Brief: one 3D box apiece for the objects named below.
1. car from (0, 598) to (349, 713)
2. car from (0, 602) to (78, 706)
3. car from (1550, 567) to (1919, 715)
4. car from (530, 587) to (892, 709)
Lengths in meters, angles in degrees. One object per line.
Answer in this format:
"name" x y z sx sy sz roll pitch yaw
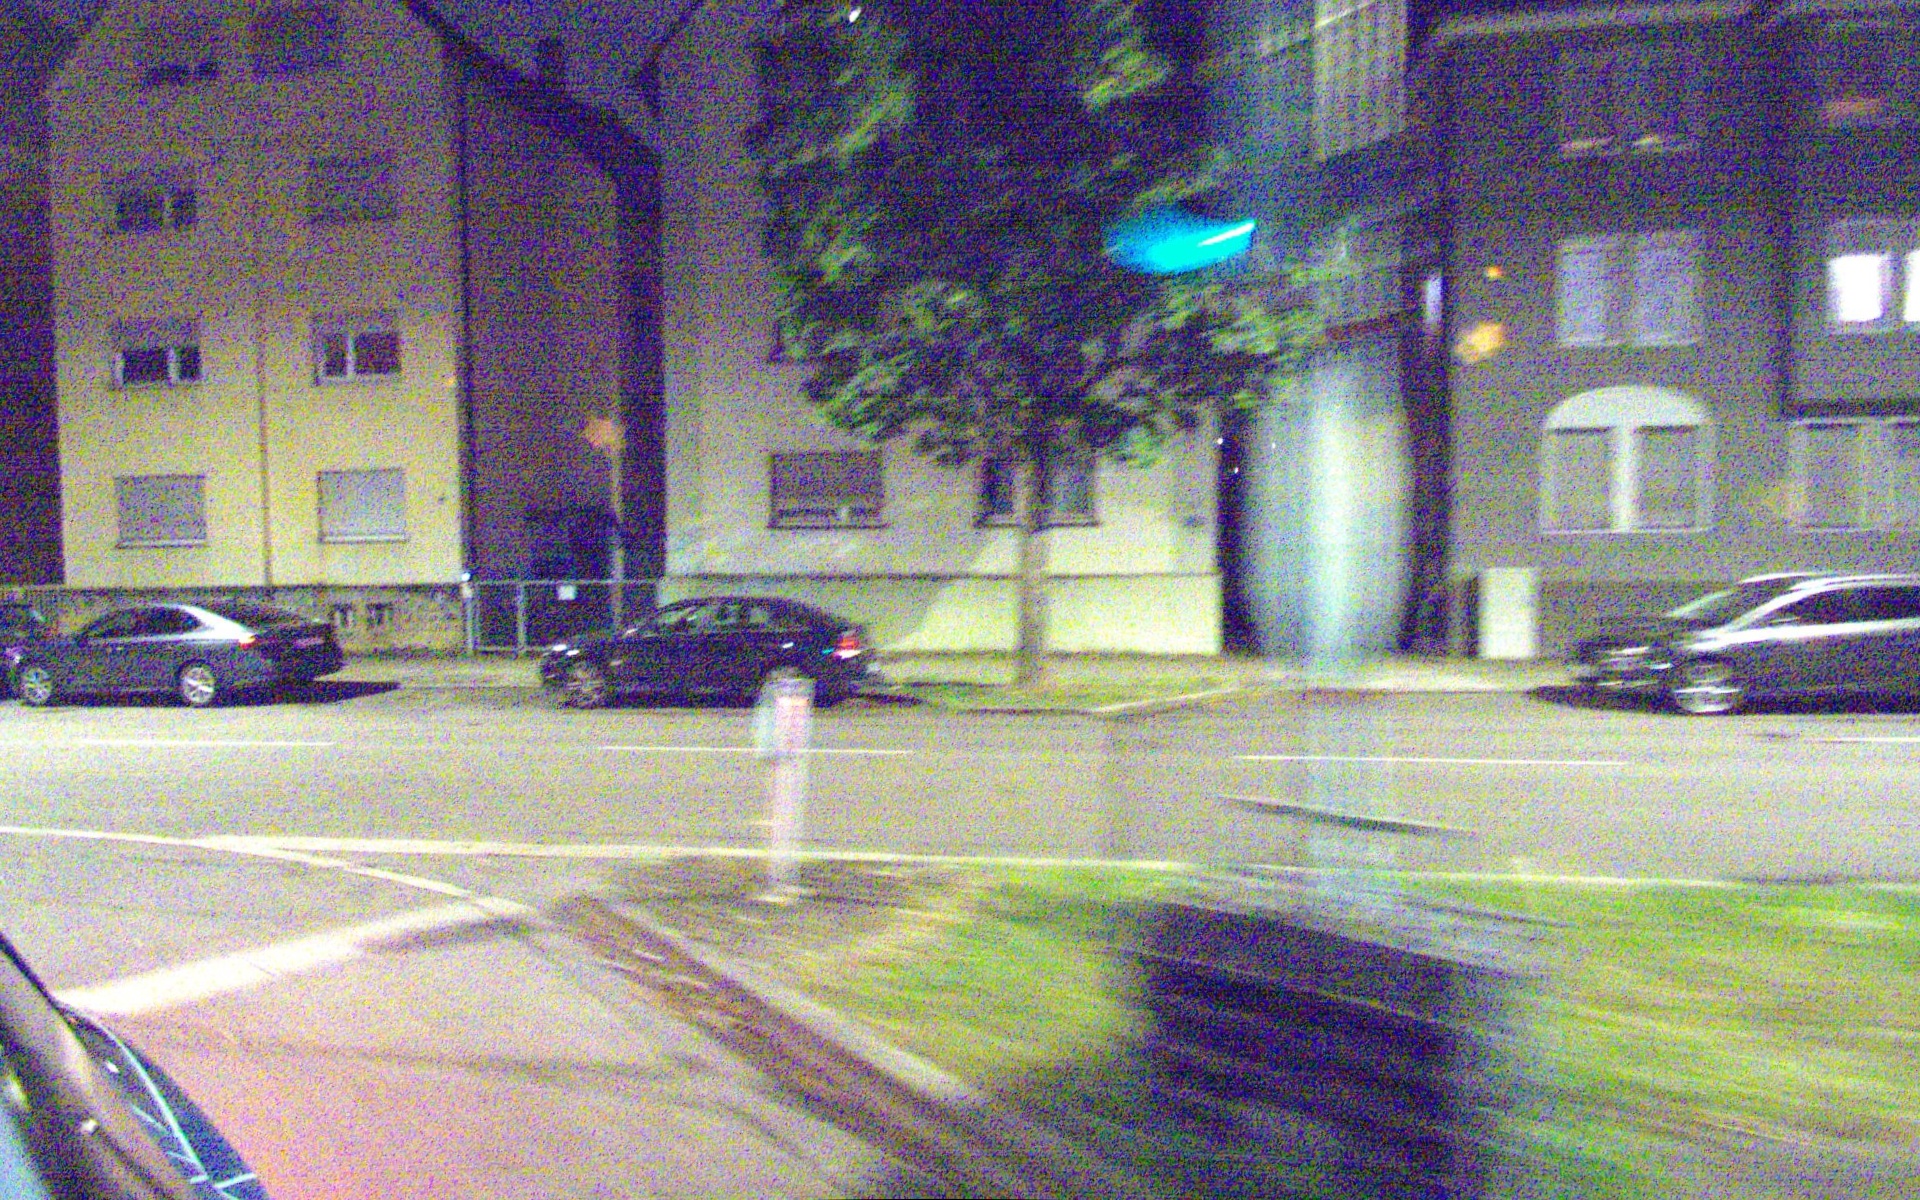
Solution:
"car" -11.341 0.773 14.586 4.297 1.444 1.553 -1 3 8
"car" -16.123 0.832 15.353 4.297 1.444 1.641 -1 3 7
"car" 9.484 0.415 11.480 4.422 1.490 1.862 -1 2 9
"car" -3.227 0.612 13.604 4.350 1.444 1.863 -1 2 7
